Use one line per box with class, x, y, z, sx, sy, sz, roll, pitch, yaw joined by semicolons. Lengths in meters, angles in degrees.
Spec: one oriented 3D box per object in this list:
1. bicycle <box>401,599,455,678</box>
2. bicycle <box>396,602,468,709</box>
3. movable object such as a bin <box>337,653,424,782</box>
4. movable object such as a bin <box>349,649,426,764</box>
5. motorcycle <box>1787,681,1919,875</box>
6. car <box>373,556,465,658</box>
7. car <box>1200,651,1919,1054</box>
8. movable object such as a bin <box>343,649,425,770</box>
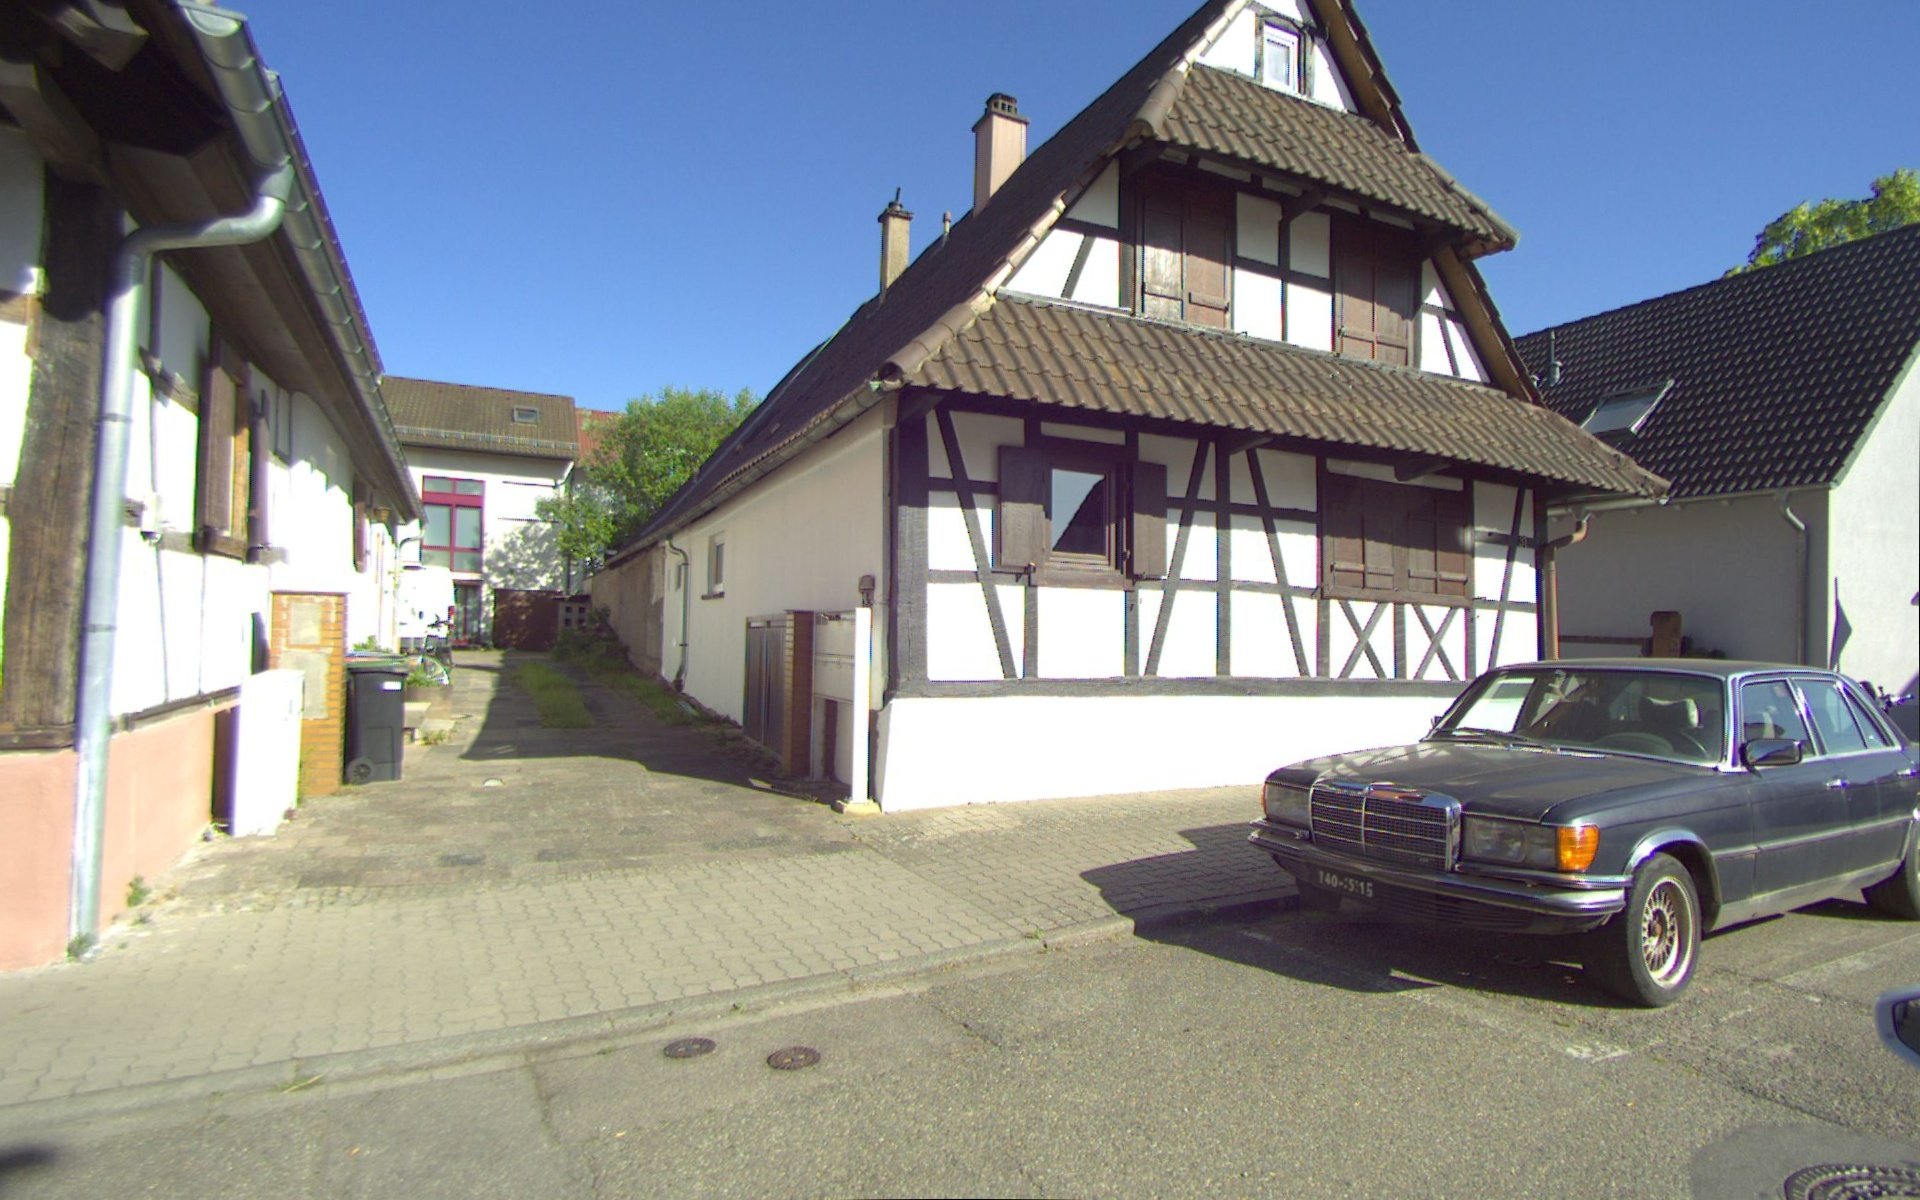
bicycle;-9.463;0.658;17.932;0.729;1.260;2.229;3;0;-26
bicycle;-7.010;0.696;13.396;0.729;1.260;2.229;3;0;-26
movable object such as a bin;-4.586;0.918;7.972;0.517;0.955;0.469;3;-1;-26
movable object such as a bin;-5.030;0.928;8.849;0.517;0.955;0.469;3;-1;-26
motorcycle;6.943;1.260;7.321;0.614;1.248;1.996;0;-2;14
car;-14.993;0.150;27.752;1.784;2.565;3.962;3;0;-34
car;3.841;1.051;5.653;4.978;1.424;1.836;3;-4;-30
movable object such as a bin;-4.814;0.906;8.413;0.517;0.955;0.469;3;-1;-26
